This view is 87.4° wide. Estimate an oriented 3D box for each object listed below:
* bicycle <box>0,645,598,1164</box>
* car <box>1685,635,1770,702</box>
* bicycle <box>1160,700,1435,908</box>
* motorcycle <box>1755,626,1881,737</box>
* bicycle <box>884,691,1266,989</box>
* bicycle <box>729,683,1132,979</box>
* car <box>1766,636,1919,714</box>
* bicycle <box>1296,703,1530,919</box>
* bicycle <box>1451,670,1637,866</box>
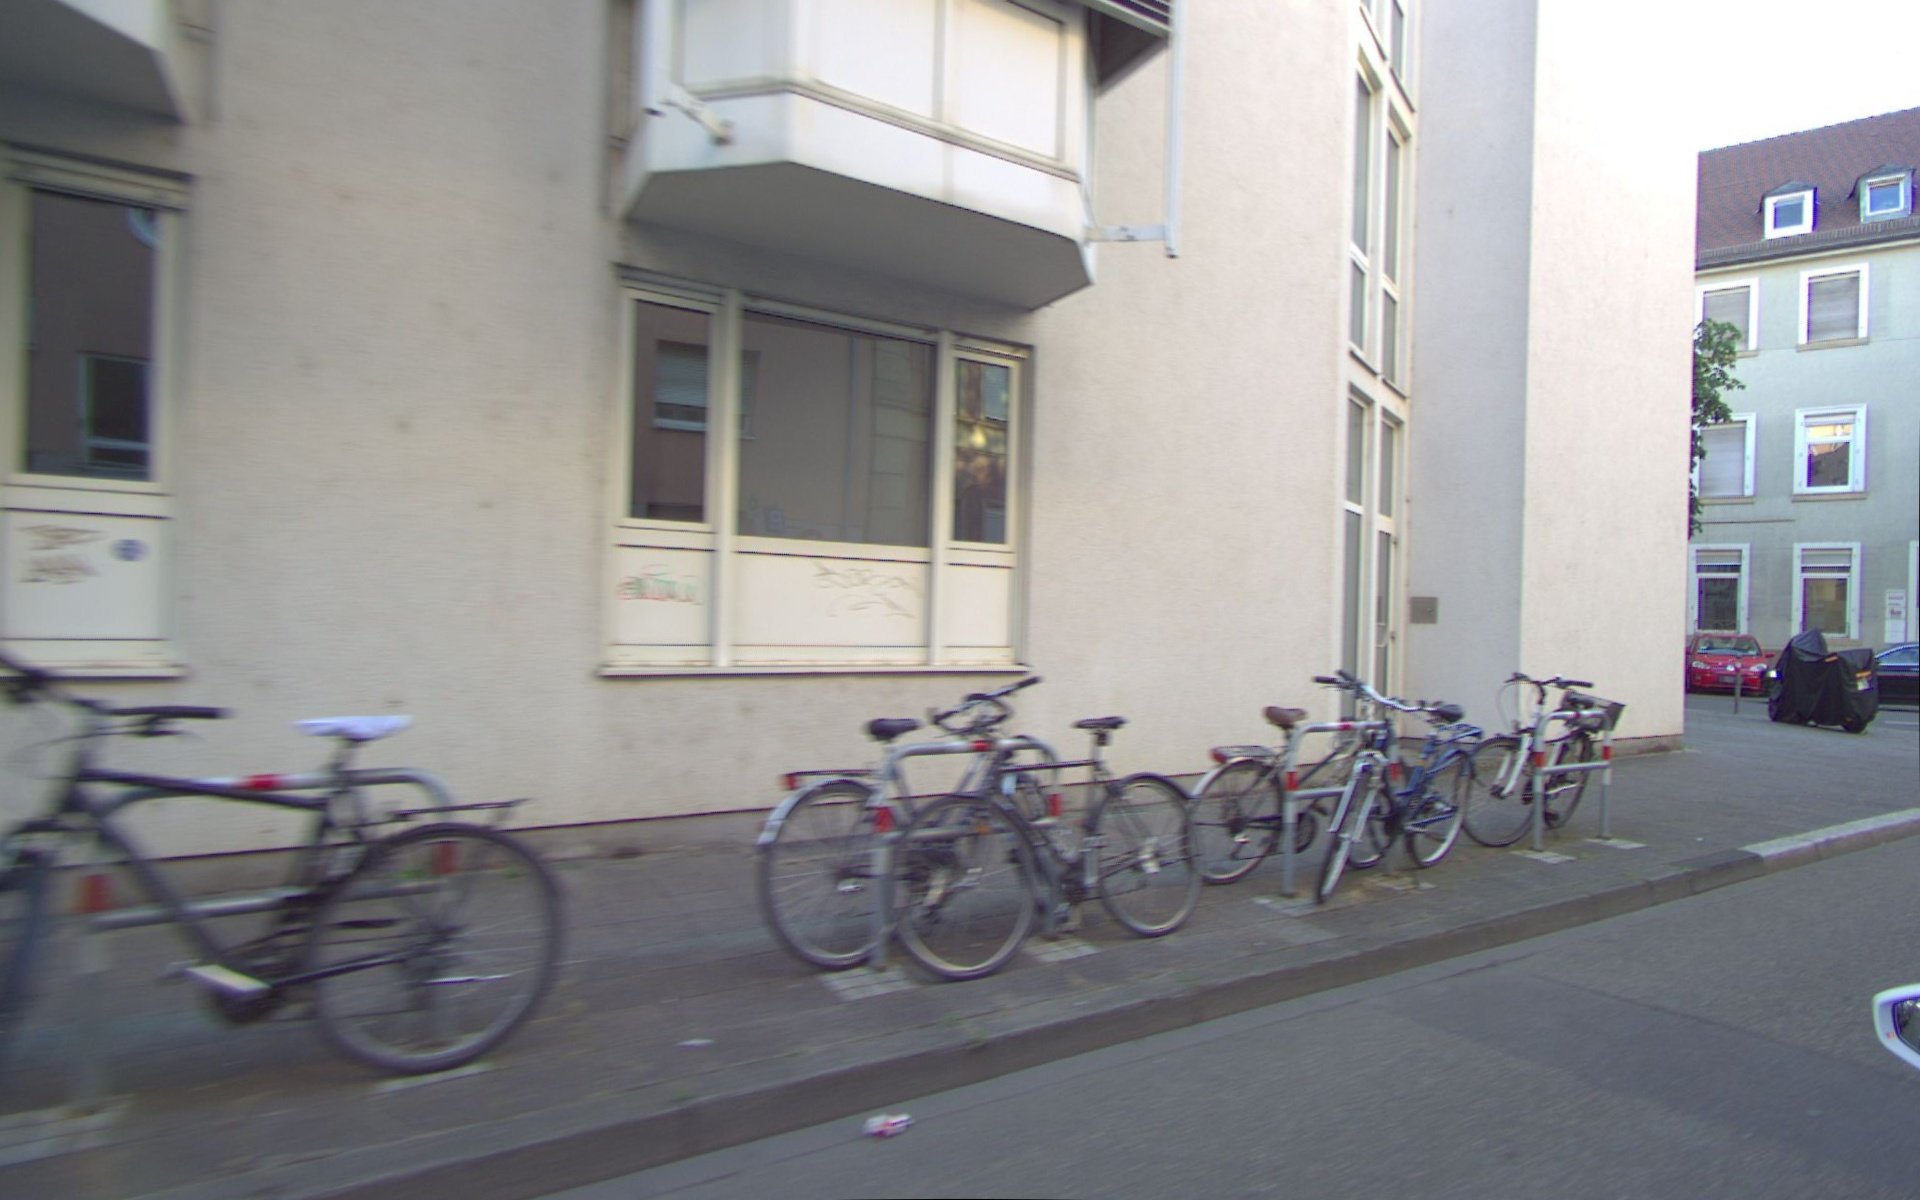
[{"bbox_3d":[-1.984,0.753,2.789,1.792,1.239,0.305,2,0,-30],"label":"bicycle"},{"bbox_3d":[19.376,1.675,25.472,1.540,1.495,3.656,0,-1,35],"label":"car"},{"bbox_3d":[1.883,1.051,5.475,1.792,0.944,0.305,2,0,-30],"label":"bicycle"},{"bbox_3d":[13.261,1.205,15.599,0.656,1.576,2.163,1,-1,17],"label":"motorcycle"},{"bbox_3d":[0.557,0.947,4.330,1.792,1.056,0.305,2,0,-30],"label":"bicycle"},{"bbox_3d":[-0.064,0.910,4.331,1.792,1.056,0.305,2,0,-30],"label":"bicycle"},{"bbox_3d":[19.372,1.529,20.338,4.590,1.469,1.763,0,-1,34],"label":"car"},{"bbox_3d":[2.503,1.073,5.446,1.796,0.944,0.305,2,0,-37],"label":"bicycle"},{"bbox_3d":[3.919,1.048,6.677,1.796,1.117,0.397,2,0,-37],"label":"bicycle"}]
